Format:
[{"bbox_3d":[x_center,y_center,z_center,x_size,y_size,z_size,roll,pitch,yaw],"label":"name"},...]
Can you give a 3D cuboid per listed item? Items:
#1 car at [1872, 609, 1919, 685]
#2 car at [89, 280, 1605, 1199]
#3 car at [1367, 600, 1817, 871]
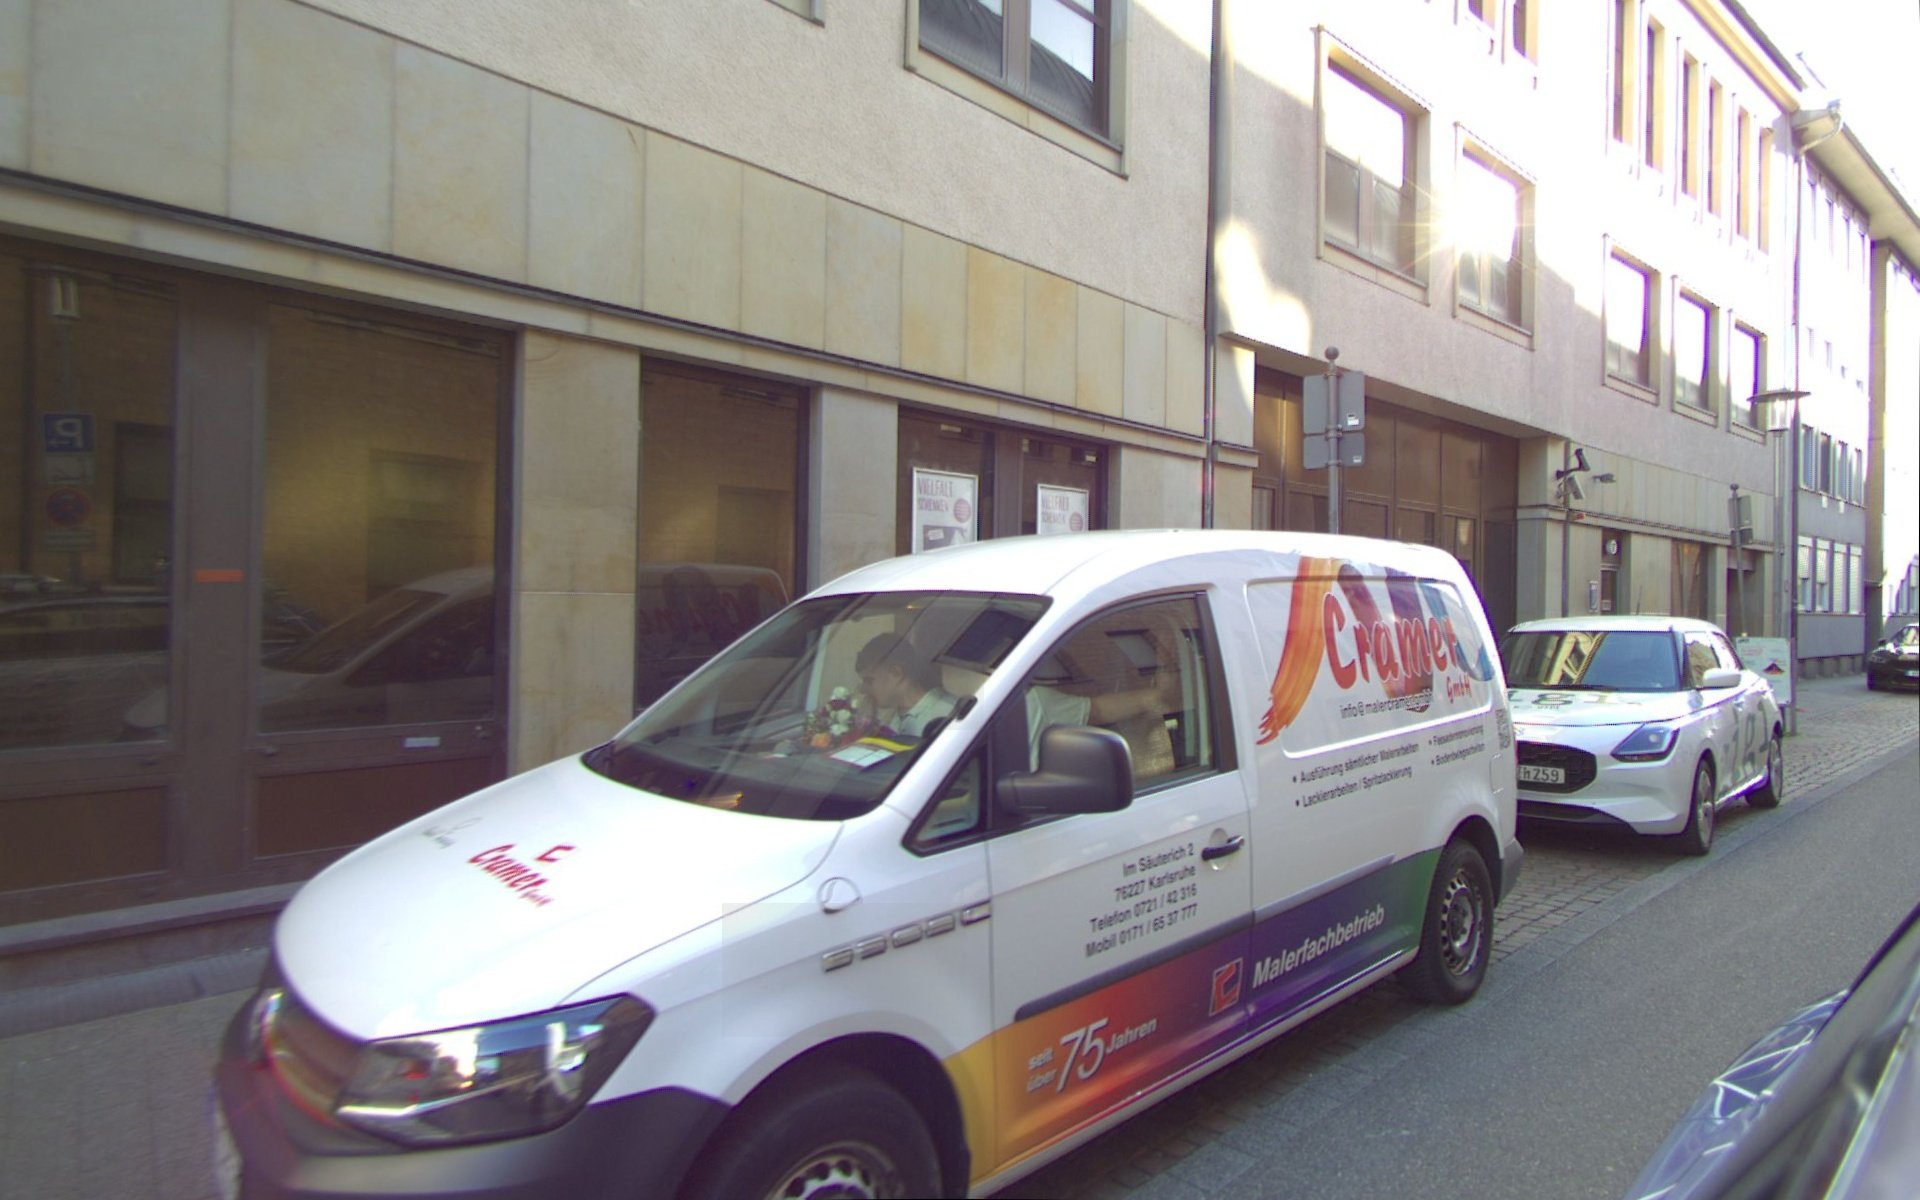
[{"bbox_3d":[20.834,0.943,21.031,5.129,1.472,1.899,1,-1,-38],"label":"car"},{"bbox_3d":[0.384,0.571,3.508,5.124,1.814,1.833,0,-1,-42],"label":"car"},{"bbox_3d":[4.954,0.792,7.693,4.096,1.497,1.842,1,-2,-42],"label":"car"}]
